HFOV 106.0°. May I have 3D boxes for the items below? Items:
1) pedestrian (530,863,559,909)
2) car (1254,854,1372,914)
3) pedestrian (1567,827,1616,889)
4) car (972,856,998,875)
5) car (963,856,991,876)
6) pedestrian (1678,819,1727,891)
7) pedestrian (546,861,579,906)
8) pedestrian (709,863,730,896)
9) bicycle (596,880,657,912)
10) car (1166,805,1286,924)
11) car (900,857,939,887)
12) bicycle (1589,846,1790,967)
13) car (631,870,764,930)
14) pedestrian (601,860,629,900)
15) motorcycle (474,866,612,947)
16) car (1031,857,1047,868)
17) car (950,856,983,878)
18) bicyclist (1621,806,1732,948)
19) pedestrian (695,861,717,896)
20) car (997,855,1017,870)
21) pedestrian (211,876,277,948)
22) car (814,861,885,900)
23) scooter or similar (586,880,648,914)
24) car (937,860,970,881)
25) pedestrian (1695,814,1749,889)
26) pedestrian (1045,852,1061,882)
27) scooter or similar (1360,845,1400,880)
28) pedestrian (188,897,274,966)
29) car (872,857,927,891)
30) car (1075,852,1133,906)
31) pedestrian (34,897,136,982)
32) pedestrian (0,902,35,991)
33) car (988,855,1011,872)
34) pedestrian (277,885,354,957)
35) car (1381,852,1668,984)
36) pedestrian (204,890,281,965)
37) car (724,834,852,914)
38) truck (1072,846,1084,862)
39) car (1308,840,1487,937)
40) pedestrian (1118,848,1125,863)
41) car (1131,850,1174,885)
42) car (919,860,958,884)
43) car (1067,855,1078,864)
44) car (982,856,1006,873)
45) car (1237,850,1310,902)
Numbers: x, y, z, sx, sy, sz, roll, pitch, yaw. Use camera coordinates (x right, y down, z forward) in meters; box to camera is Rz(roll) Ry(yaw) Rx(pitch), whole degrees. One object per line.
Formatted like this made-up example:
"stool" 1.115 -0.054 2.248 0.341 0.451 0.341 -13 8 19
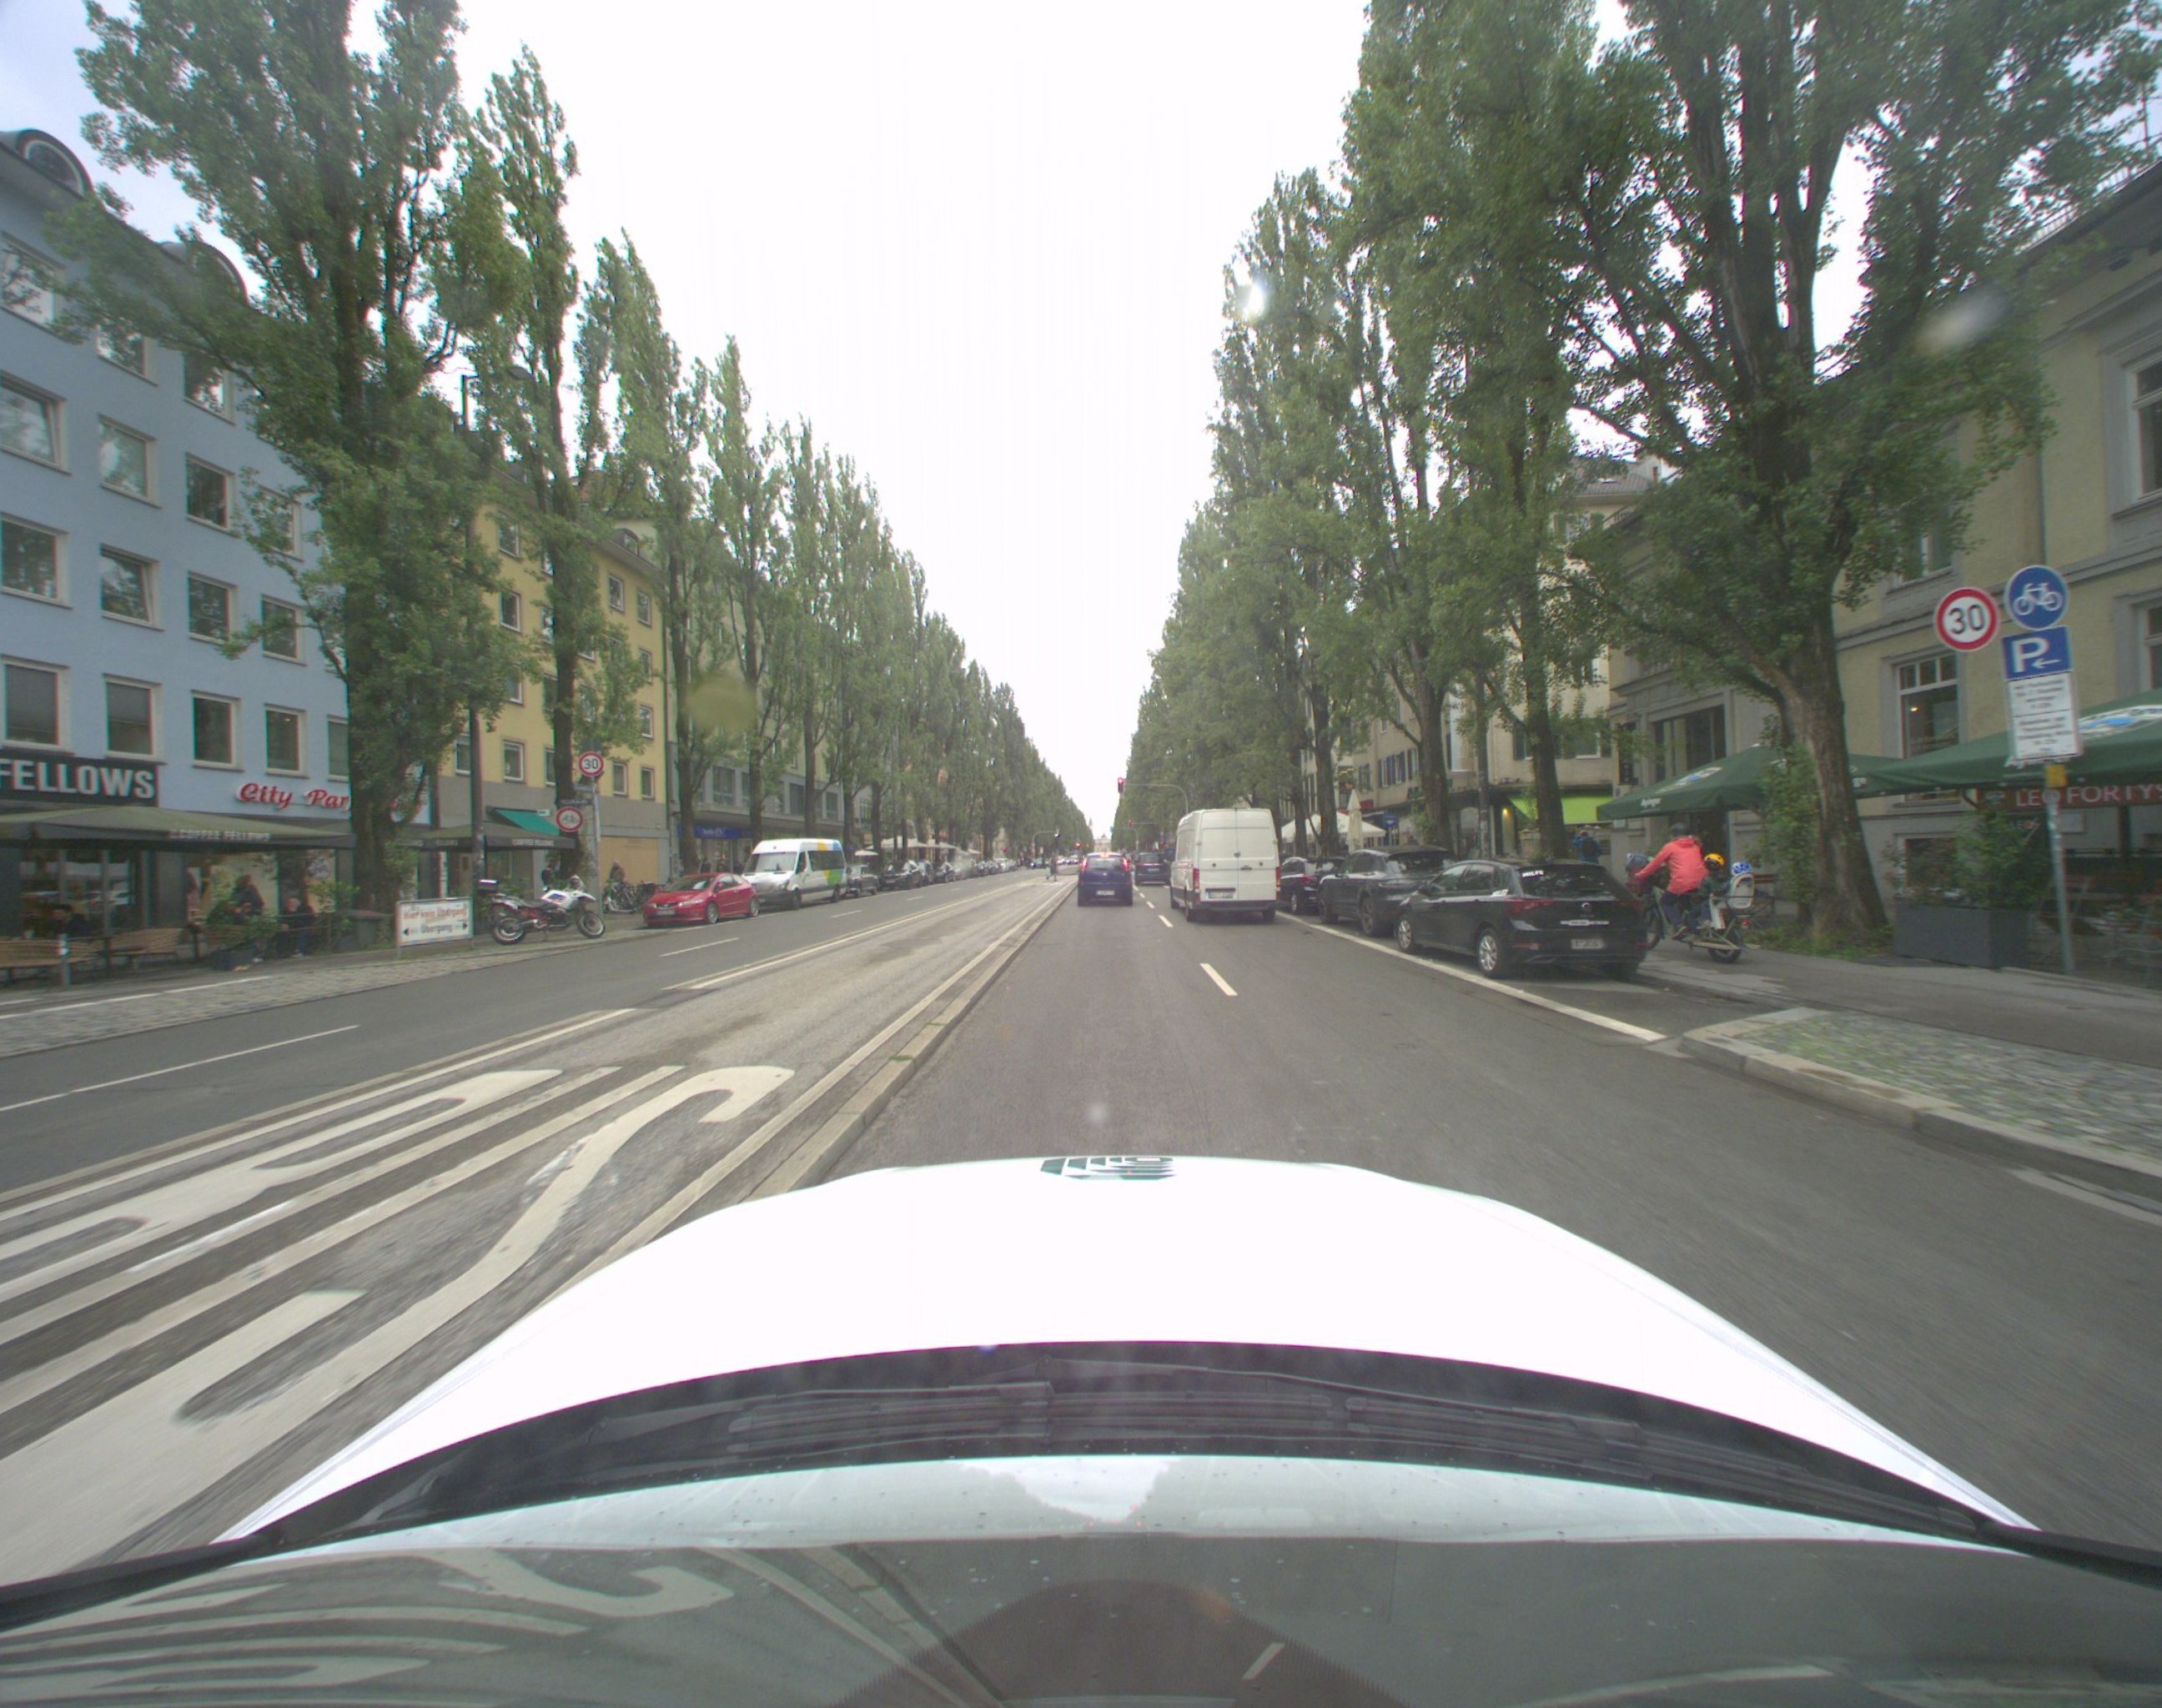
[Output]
"pedestrian" -19.636 1.154 29.804 0.691 1.636 0.567 -2 0 25
"car" 5.968 0.718 21.493 1.705 1.393 4.340 -1 0 -2
"pedestrian" 14.412 0.107 23.014 0.794 1.677 0.877 -2 0 1
"car" -9.324 1.087 79.316 1.859 1.665 4.121 -3 0 1
"car" -9.427 1.099 74.319 1.859 1.665 4.121 -3 0 1
"pedestrian" 15.034 0.026 19.718 0.866 1.677 0.805 -2 0 37
"pedestrian" -19.315 1.102 30.327 0.691 1.636 0.731 -2 0 25
"pedestrian" -18.901 1.326 42.611 0.694 1.700 0.728 -2 0 6
"bicycle" -15.582 1.441 27.936 1.768 1.026 0.421 -2 0 -2
"car" 3.442 0.217 20.750 2.055 2.492 6.733 -1 0 2
"car" -10.169 1.122 51.516 1.705 1.721 3.920 -3 0 -1
"bicycle" 7.755 0.603 10.583 0.770 1.349 2.450 -3 0 1
"car" -11.014 1.268 23.759 1.731 1.419 4.150 -3 0 1
"pedestrian" -19.923 1.098 34.826 0.694 1.636 0.727 -2 0 3
"motorcycle" -11.427 1.074 17.354 2.360 1.563 0.706 -1 0 -41
"car" -5.777 1.141 111.681 1.691 1.462 4.714 -3 0 1
"car" -9.542 1.037 68.146 1.859 1.665 4.402 -3 0 1
"bicyclist" 7.744 0.287 10.631 0.764 1.766 0.885 -2 0 1
"pedestrian" -19.678 1.273 42.720 0.694 1.795 0.728 -2 0 6
"car" -8.788 1.013 97.379 1.859 1.665 4.121 -3 0 1
"pedestrian" -20.541 1.416 19.997 0.753 1.686 0.786 -2 0 4
"car" -10.651 1.195 37.813 1.859 1.552 4.416 -3 0 1
"scooter or similar" -15.546 1.436 27.298 1.768 1.026 0.421 -2 0 -2
"car" -9.732 1.212 62.364 1.727 1.425 4.145 -3 0 1
"pedestrian" 15.936 -0.054 20.267 0.866 1.796 0.778 -2 0 25
"pedestrian" -1.653 0.759 47.760 0.857 1.684 0.626 -2 0 -2
"scooter or similar" 12.715 0.329 34.688 0.634 1.376 2.493 -3 1 -2
"pedestrian" -15.724 1.427 15.082 0.813 1.182 0.700 -2 0 0
"car" -10.208 1.093 46.092 1.859 1.664 4.612 -3 0 1
"car" 0.740 0.724 25.964 1.665 1.568 4.002 -1 0 2
"pedestrian" -17.080 1.448 13.985 0.694 1.362 0.820 -2 0 4
"pedestrian" -17.325 1.479 12.722 0.694 1.362 0.951 -2 0 4
"car" -8.991 1.052 90.103 1.859 1.665 4.121 -3 0 1
"pedestrian" -15.443 1.334 16.446 0.695 1.362 0.848 -2 0 0
"car" 5.641 0.701 10.986 1.689 1.416 3.950 -1 0 0
"pedestrian" -16.200 1.400 15.749 0.711 1.362 0.700 -2 0 -1
"car" -10.777 0.669 30.715 1.998 2.567 6.914 -3 0 2
"truck" -0.642 0.056 173.935 2.374 3.346 7.113 -2 0 2
"car" 5.987 0.588 16.043 1.797 1.637 4.446 -1 0 0
"pedestrian" 4.937 0.177 99.554 0.719 1.827 0.885 0 -1 -8
"car" 3.553 0.655 41.105 1.889 1.622 4.002 -1 0 2
"car" -9.913 1.212 56.968 1.792 1.488 4.352 -3 0 1
"car" -1.459 1.004 144.269 1.728 1.465 3.366 -2 0 1
"car" -9.068 1.056 84.841 1.859 1.665 4.121 -3 0 1
"car" 5.899 0.633 25.223 1.587 1.518 2.728 0 0 -1
